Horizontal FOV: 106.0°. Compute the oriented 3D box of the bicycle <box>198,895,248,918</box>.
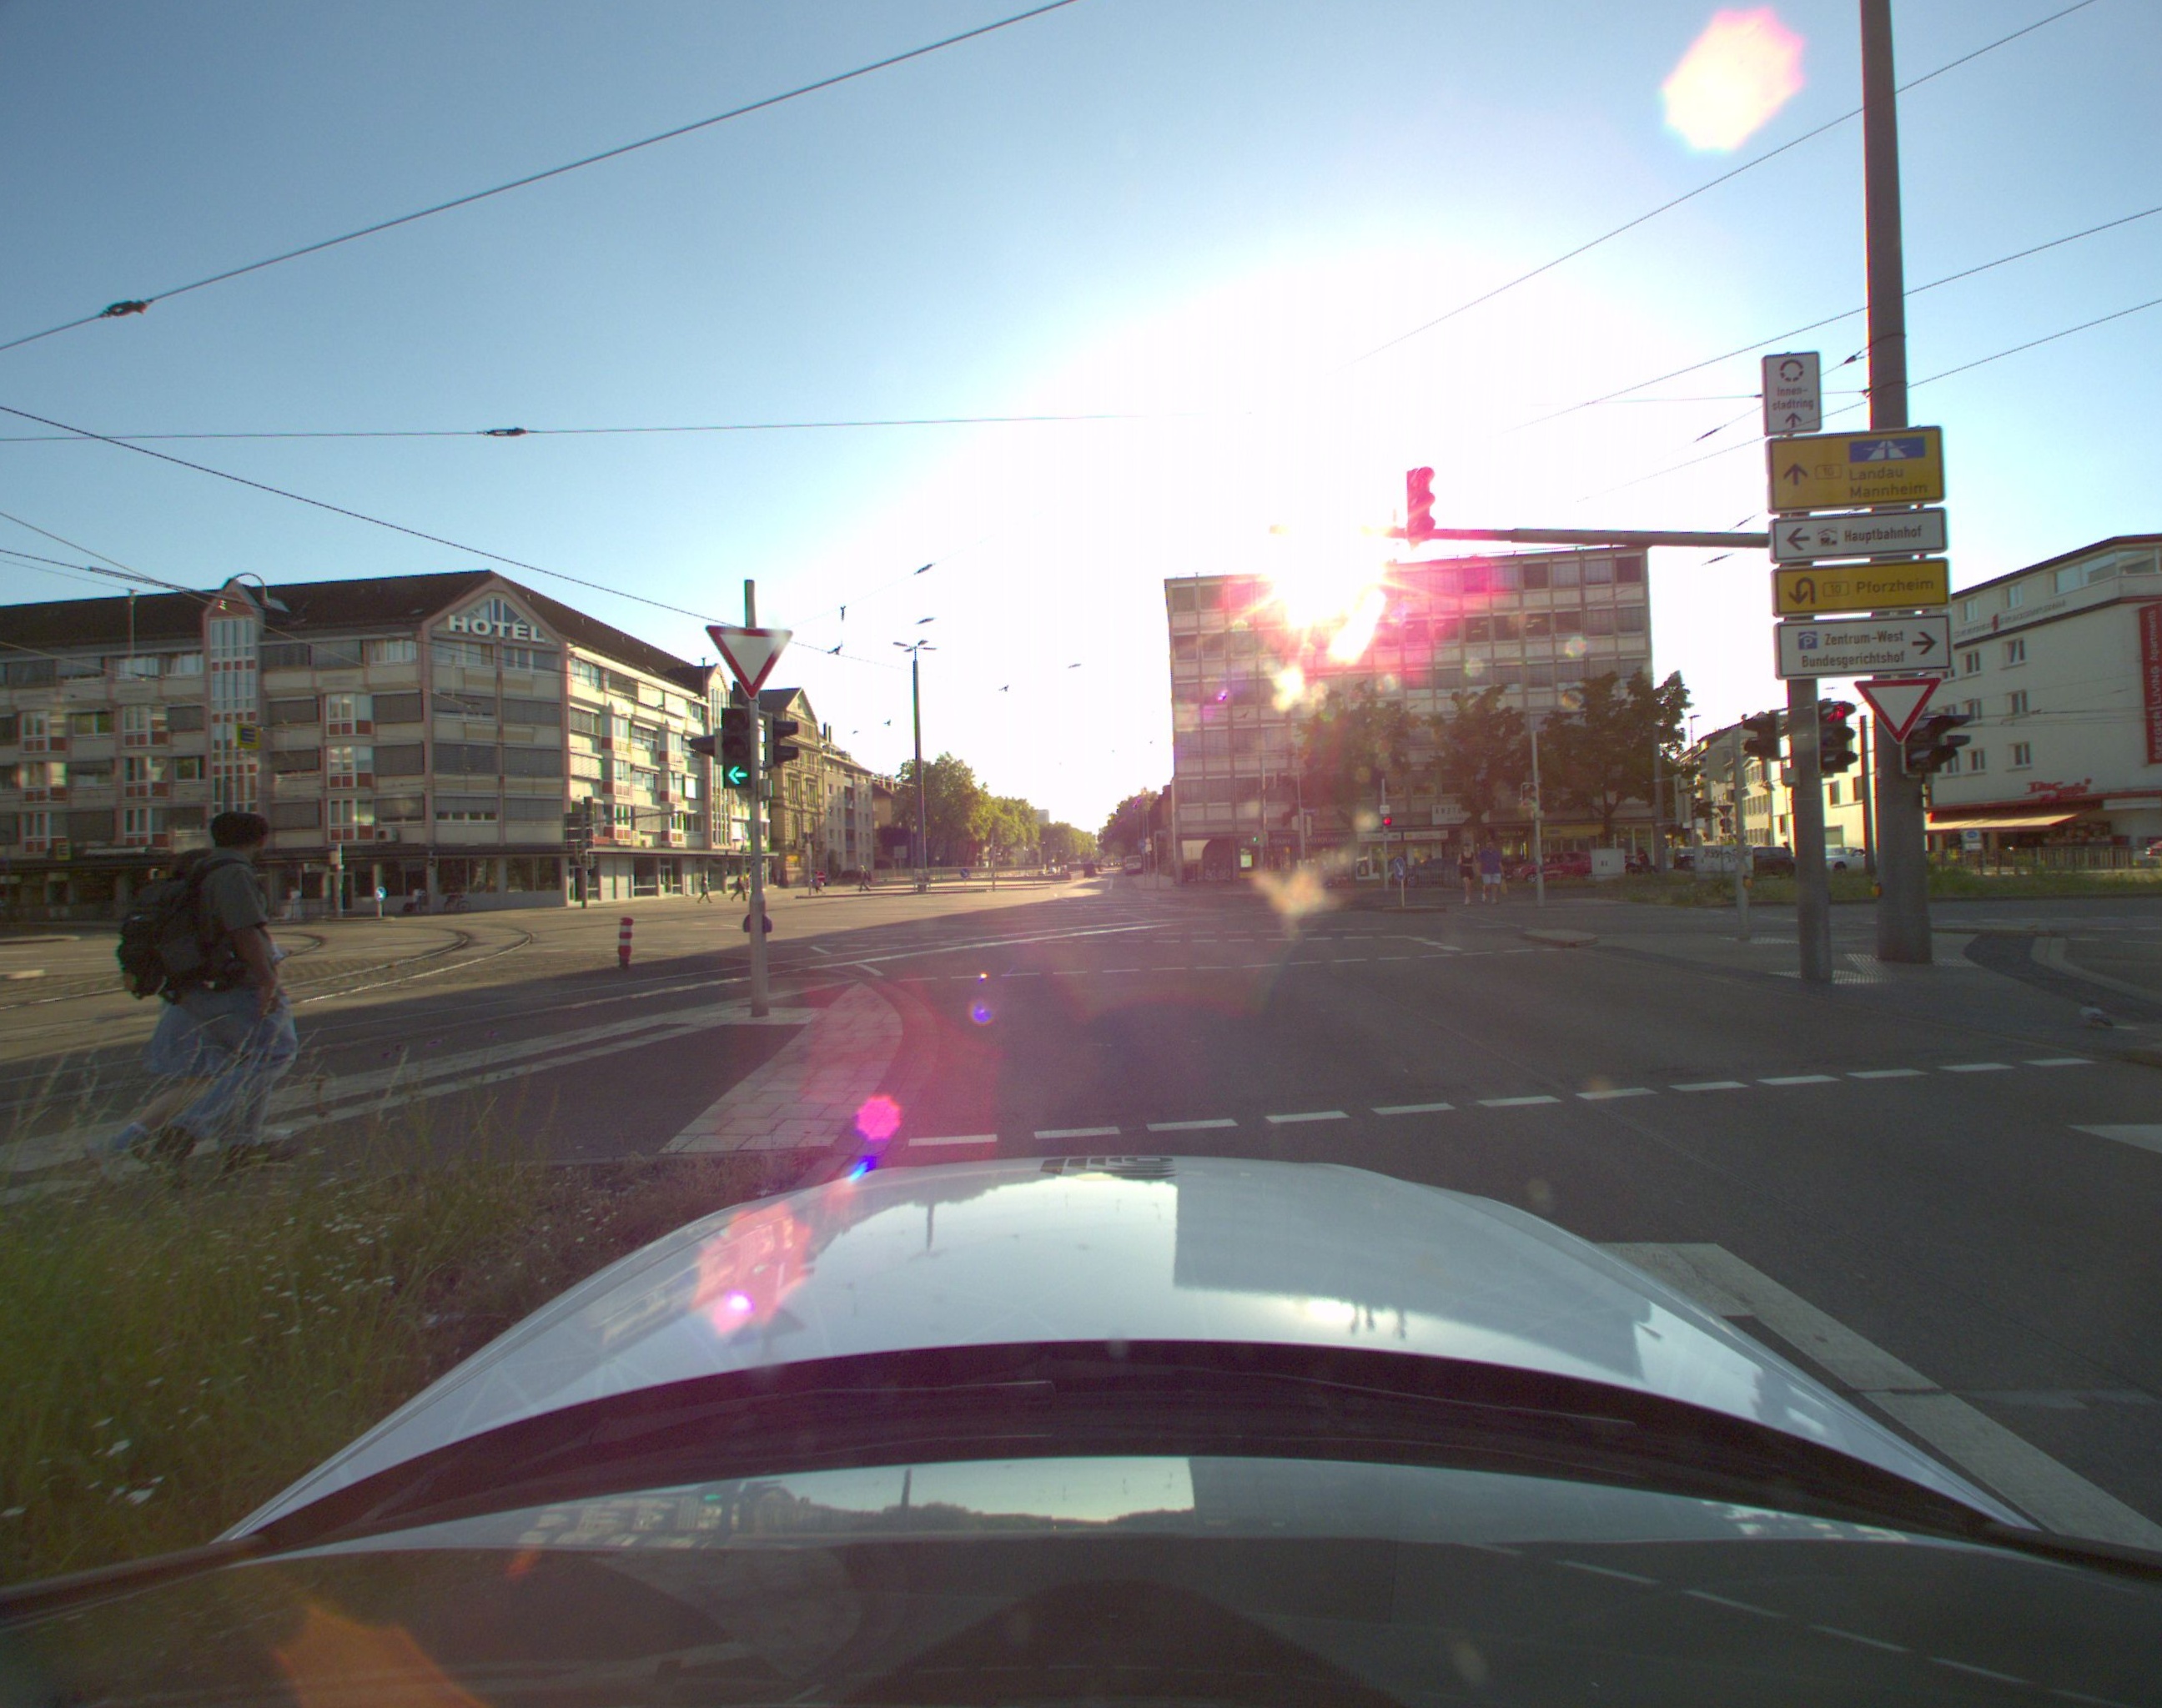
[{"bbox_3d":[-49.425,3.048,46.923,2.312,1.227,0.731,-2,-1,7],"label":"bicycle"}]

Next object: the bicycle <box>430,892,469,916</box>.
[{"bbox_3d":[-34.787,2.759,44.894,0.635,1.145,1.773,0,2,6],"label":"bicycle"}]

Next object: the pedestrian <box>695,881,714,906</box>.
[{"bbox_3d":[-21.839,2.280,47.235,0.703,1.453,0.855,0,-1,-2],"label":"pedestrian"}]

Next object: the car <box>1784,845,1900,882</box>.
[{"bbox_3d":[34.547,0.417,37.006,3.988,1.618,1.837,0,-1,-11],"label":"car"}]

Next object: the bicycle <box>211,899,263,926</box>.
[{"bbox_3d":[-44.380,3.076,42.822,2.081,1.366,0.584,-1,1,0],"label":"bicycle"}]

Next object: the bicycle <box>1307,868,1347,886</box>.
[{"bbox_3d":[13.432,1.240,44.483,2.017,0.940,0.671,0,-1,1],"label":"bicycle"}]

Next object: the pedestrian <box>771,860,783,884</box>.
[{"bbox_3d":[-31.018,1.819,83.095,0.926,2.398,0.958,0,-1,-9],"label":"pedestrian"}]

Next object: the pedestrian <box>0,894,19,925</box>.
[{"bbox_3d":[-64.739,3.337,49.066,0.671,1.778,0.825,-1,-1,32],"label":"pedestrian"}]

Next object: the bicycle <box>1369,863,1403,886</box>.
[{"bbox_3d":[17.022,1.116,45.480,0.748,1.143,2.637,0,2,-4],"label":"bicycle"}]

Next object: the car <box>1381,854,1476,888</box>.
[{"bbox_3d":[17.330,0.851,40.757,4.046,1.618,1.847,0,-1,6],"label":"car"}]

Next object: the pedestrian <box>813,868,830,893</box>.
[{"bbox_3d":[-15.555,1.599,48.792,0.858,1.465,0.680,0,-6,-27],"label":"pedestrian"}]

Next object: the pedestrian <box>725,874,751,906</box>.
[{"bbox_3d":[-20.845,2.180,49.531,1.191,1.883,0.856,0,2,-3],"label":"pedestrian"}]

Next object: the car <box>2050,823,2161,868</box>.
[{"bbox_3d":[45.296,-0.354,34.875,4.577,1.842,1.912,-1,-1,16],"label":"car"}]

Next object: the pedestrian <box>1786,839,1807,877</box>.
[{"bbox_3d":[38.379,0.202,43.696,0.620,2.014,0.719,-1,-1,25],"label":"pedestrian"}]

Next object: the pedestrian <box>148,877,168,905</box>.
[{"bbox_3d":[-54.014,2.176,47.643,0.614,1.636,0.596,4,-4,-42],"label":"pedestrian"}]

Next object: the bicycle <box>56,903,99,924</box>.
[{"bbox_3d":[-60.141,3.556,48.831,0.481,1.119,1.650,0,-1,2],"label":"bicycle"}]

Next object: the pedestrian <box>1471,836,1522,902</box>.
[{"bbox_3d":[11.501,0.412,22.534,0.700,1.793,1.030,1,-1,-36],"label":"pedestrian"}]

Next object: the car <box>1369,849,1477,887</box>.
[{"bbox_3d":[14.743,0.612,35.282,3.966,1.618,1.847,0,-1,6],"label":"car"}]

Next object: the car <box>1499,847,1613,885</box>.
[{"bbox_3d":[20.933,0.552,36.010,3.966,1.618,1.847,0,-1,6],"label":"car"}]

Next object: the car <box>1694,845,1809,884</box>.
[{"bbox_3d":[29.397,0.455,35.734,3.990,1.618,1.836,0,-1,-13],"label":"car"}]

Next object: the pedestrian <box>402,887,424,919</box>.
[{"bbox_3d":[-36.485,2.664,44.493,0.717,1.662,0.629,-2,-1,-22],"label":"pedestrian"}]

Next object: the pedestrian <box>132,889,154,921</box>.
[{"bbox_3d":[-56.191,3.063,48.804,0.598,1.852,0.613,-1,-1,12],"label":"pedestrian"}]

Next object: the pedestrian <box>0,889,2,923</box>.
[{"bbox_3d":[-52.970,2.511,39.304,0.680,1.660,0.780,0,-1,-4],"label":"pedestrian"}]

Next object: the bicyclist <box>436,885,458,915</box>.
[{"bbox_3d":[-34.800,2.537,44.733,0.635,1.596,0.659,0,1,5],"label":"bicyclist"}]

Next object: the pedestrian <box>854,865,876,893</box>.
[{"bbox_3d":[-13.492,1.540,50.857,1.191,1.731,0.855,0,-1,-3],"label":"pedestrian"}]

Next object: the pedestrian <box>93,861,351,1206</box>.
[{"bbox_3d":[-4.712,0.863,4.488,0.778,1.640,0.906,-1,-2,40],"label":"pedestrian"}]

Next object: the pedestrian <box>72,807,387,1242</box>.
[{"bbox_3d":[-4.104,0.704,3.969,0.778,1.801,0.906,-4,0,41],"label":"pedestrian"}]

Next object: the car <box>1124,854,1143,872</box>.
[{"bbox_3d":[6.504,1.138,100.400,2.275,2.172,4.838,0,-1,4],"label":"car"}]

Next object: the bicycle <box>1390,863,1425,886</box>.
[{"bbox_3d":[18.216,1.118,45.494,0.748,1.143,2.637,0,2,-4],"label":"bicycle"}]

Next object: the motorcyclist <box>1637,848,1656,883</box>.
[{"bbox_3d":[24.833,0.499,35.768,0.458,1.509,0.536,0,-1,7],"label":"motorcyclist"}]

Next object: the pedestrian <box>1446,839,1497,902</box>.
[{"bbox_3d":[10.710,0.440,22.336,0.700,1.682,1.030,1,-1,-36],"label":"pedestrian"}]

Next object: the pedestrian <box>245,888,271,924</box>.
[{"bbox_3d":[-39.863,2.524,39.452,0.625,1.694,0.859,0,-1,-30],"label":"pedestrian"}]

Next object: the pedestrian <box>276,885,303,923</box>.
[{"bbox_3d":[-38.163,2.413,39.257,0.510,1.764,0.999,0,-1,-17],"label":"pedestrian"}]

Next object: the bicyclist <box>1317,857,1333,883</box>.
[{"bbox_3d":[13.325,0.889,44.494,0.677,1.424,0.671,0,-1,1],"label":"bicyclist"}]

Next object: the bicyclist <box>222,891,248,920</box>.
[{"bbox_3d":[-44.468,2.683,42.815,0.733,1.481,0.566,-1,1,0],"label":"bicyclist"}]

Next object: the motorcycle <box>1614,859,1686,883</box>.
[{"bbox_3d":[24.950,0.752,35.749,2.648,1.001,0.536,0,-1,6],"label":"motorcycle"}]

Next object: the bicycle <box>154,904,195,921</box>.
[{"bbox_3d":[-52.424,3.382,47.103,2.060,0.917,0.502,-2,-1,7],"label":"bicycle"}]

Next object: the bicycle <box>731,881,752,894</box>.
[{"bbox_3d":[-29.549,2.886,70.931,0.447,1.071,2.102,-1,-1,19],"label":"bicycle"}]
